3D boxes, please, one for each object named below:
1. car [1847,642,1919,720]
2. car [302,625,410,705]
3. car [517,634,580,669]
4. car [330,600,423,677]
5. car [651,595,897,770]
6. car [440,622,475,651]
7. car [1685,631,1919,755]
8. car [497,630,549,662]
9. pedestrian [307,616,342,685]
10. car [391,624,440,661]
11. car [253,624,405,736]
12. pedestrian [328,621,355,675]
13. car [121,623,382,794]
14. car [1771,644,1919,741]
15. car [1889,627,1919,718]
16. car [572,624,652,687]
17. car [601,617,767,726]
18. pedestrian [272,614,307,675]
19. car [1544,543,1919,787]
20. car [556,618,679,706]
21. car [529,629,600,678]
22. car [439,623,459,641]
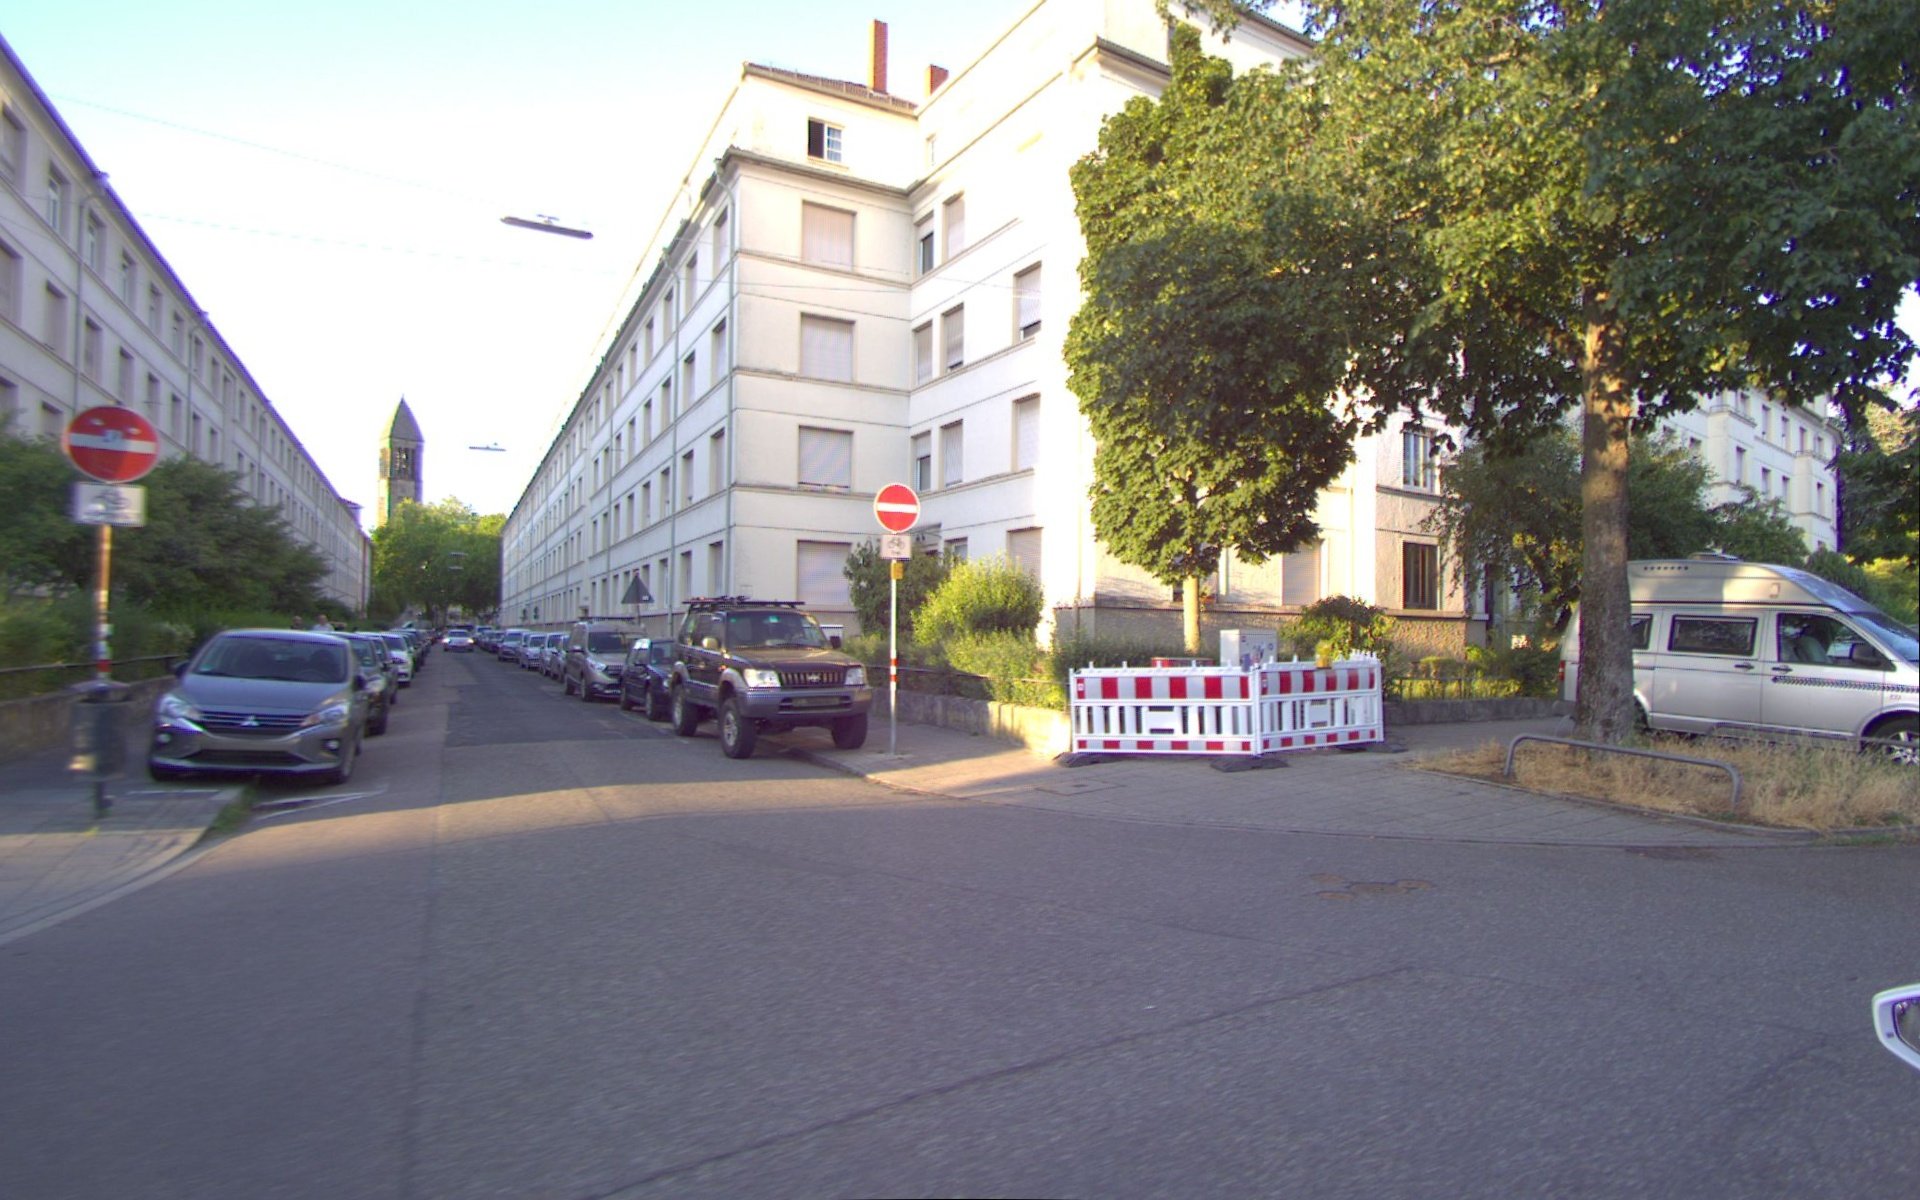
[{"bbox_3d":[19.512,1.598,19.075,1.639,1.458,3.743,2,-1,-35],"label":"car"},{"bbox_3d":[-12.077,1.244,20.257,1.621,1.431,3.659,2,-1,-28],"label":"car"},{"bbox_3d":[-17.140,2.105,41.737,1.975,1.288,3.970,2,-1,-28],"label":"car"},{"bbox_3d":[-15.753,1.016,27.282,1.975,1.924,3.971,2,-1,-28],"label":"car"},{"bbox_3d":[-2.795,1.010,14.173,1.977,2.040,4.555,2,-1,-30],"label":"car"},{"bbox_3d":[-33.870,2.442,67.693,1.975,1.910,3.971,2,-1,-28],"label":"car"},{"bbox_3d":[13.129,1.322,14.653,1.635,1.543,3.781,2,0,-33],"label":"car"},{"bbox_3d":[-21.324,2.215,48.964,1.975,1.459,3.971,2,-1,-28],"label":"car"},{"bbox_3d":[-17.961,1.417,28.410,0.727,1.900,0.733,2,-1,-29],"label":"pedestrian"},{"bbox_3d":[-28.147,2.155,52.032,1.974,1.805,3.974,2,-1,-26],"label":"car"},{"bbox_3d":[-9.704,1.153,15.686,1.706,1.511,3.446,2,-1,-28],"label":"car"},{"bbox_3d":[-22.032,1.712,35.779,0.727,1.900,0.733,1,-2,-29],"label":"pedestrian"},{"bbox_3d":[-7.465,1.020,10.971,1.806,1.483,3.750,2,-1,-28],"label":"car"},{"bbox_3d":[15.480,1.473,15.576,1.665,1.412,4.222,2,-1,-31],"label":"car"},{"bbox_3d":[22.006,1.530,20.201,1.982,1.898,4.640,2,-2,-37],"label":"car"},{"bbox_3d":[-9.885,1.522,28.393,1.630,1.624,3.426,2,-1,-28],"label":"car"},{"bbox_3d":[-5.329,1.259,19.030,1.978,1.805,3.966,2,-1,-32],"label":"car"},{"bbox_3d":[-18.695,1.237,28.018,0.727,1.658,0.811,1,-1,-29],"label":"pedestrian"},{"bbox_3d":[10.311,0.738,12.713,1.976,2.603,4.710,2,-1,-29],"label":"car"},{"bbox_3d":[-8.023,1.362,23.336,1.976,1.842,3.968,2,-1,-30],"label":"car"},{"bbox_3d":[-14.608,1.931,37.003,1.975,1.617,3.970,2,-1,-28],"label":"car"},{"bbox_3d":[-59.337,3.671,116.634,1.975,2.040,3.971,2,-1,-28],"label":"car"}]
